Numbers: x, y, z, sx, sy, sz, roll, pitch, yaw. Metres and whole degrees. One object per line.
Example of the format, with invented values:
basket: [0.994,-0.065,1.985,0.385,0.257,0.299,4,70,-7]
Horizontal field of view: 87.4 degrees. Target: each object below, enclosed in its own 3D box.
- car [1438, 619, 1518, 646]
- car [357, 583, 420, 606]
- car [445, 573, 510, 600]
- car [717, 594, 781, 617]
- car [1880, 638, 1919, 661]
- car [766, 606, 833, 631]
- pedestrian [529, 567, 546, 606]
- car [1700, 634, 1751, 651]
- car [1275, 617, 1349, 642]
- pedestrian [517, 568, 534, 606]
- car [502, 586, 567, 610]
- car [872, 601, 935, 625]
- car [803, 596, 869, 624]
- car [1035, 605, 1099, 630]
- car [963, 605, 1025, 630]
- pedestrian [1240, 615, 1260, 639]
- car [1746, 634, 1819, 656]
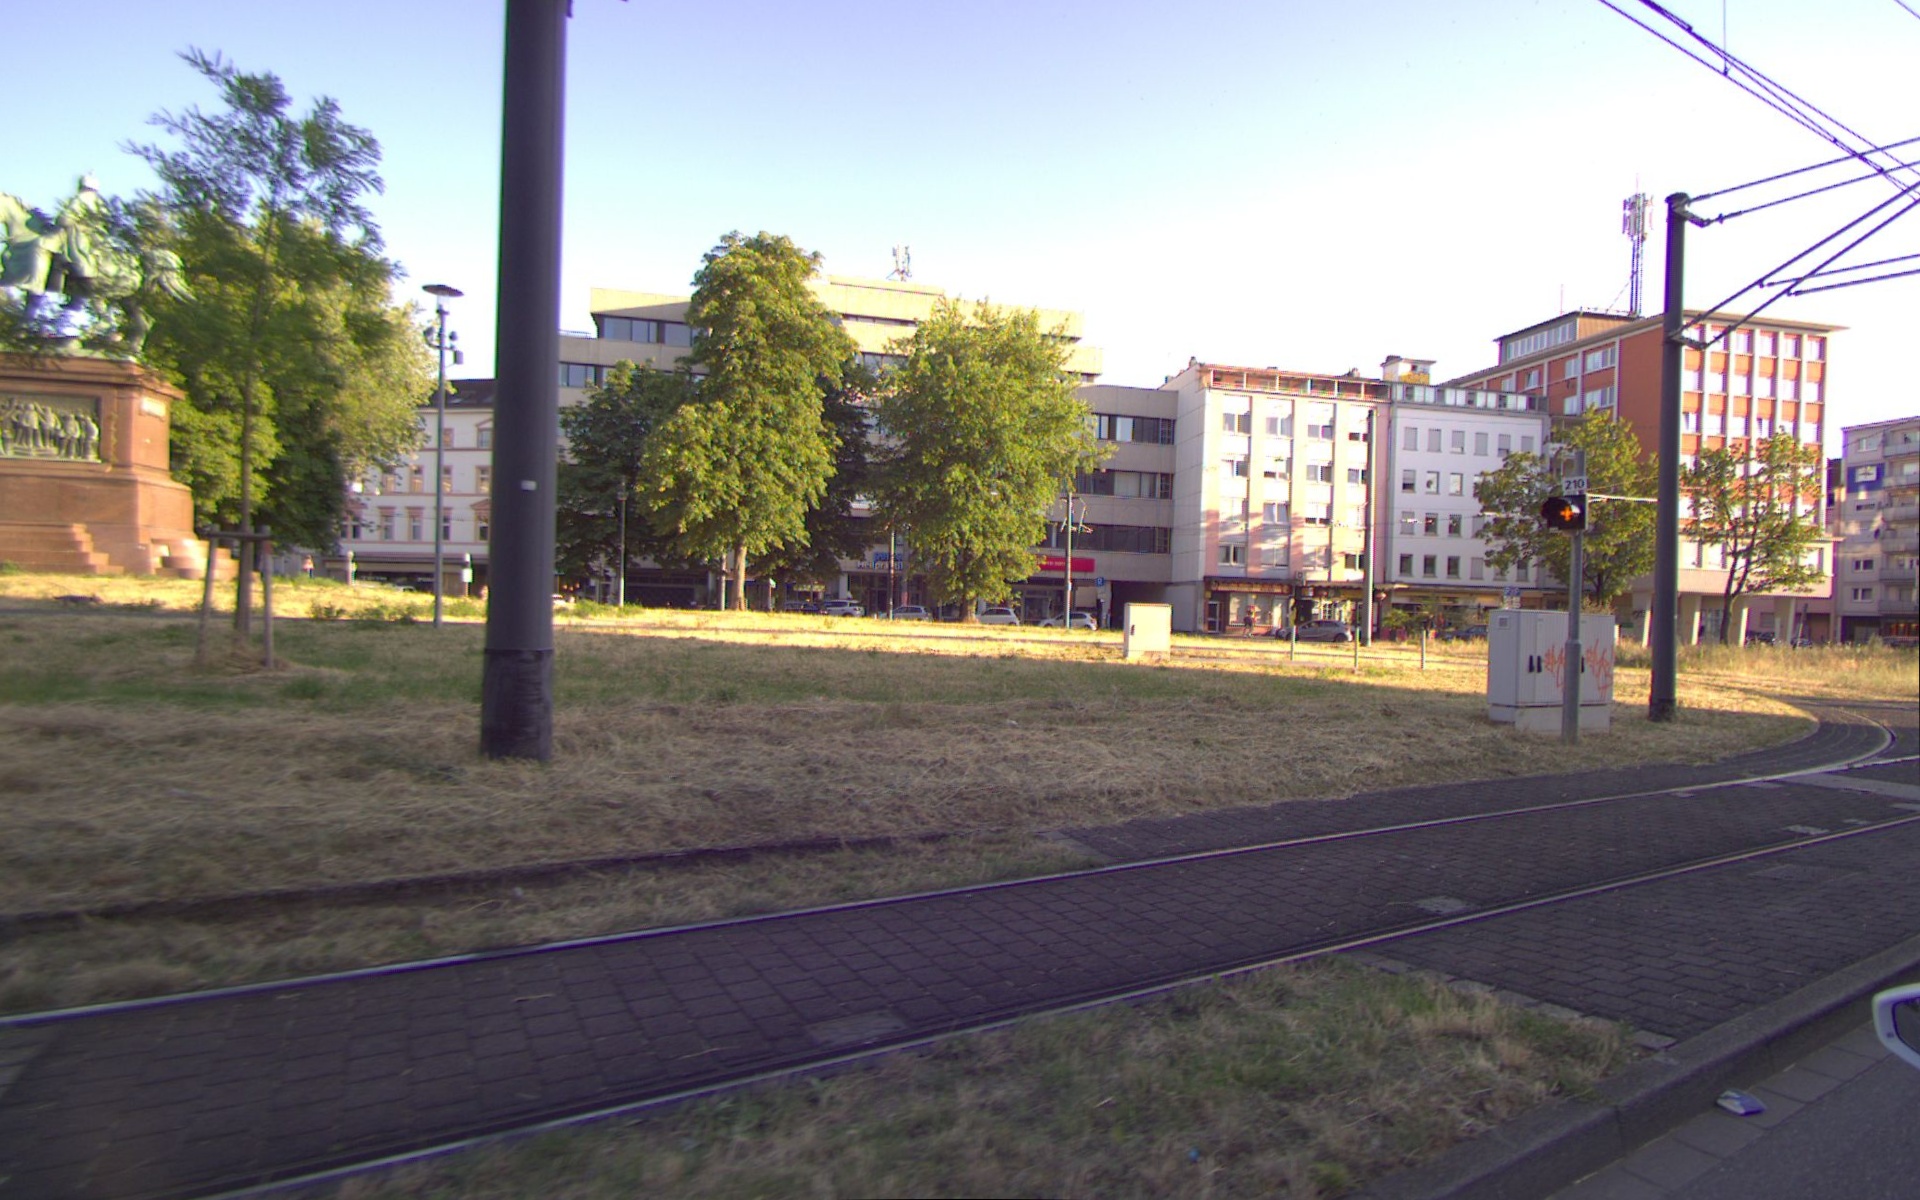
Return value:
car: [31.372,1.948,60.940,3.919,1.547,1.761,1,0,11]
car: [-43.738,-0.398,76.906,3.919,1.686,1.761,1,0,11]
car: [-35.972,-1.017,74.989,4.123,1.970,1.761,1,0,11]
car: [-14.943,0.387,71.290,3.985,1.577,1.867,1,0,11]
car: [69.422,3.593,72.638,1.774,1.606,3.863,1,0,-17]
car: [-10.579,1.190,66.413,3.985,1.577,1.867,1,0,11]
pedestrian: [-17.729,-0.555,42.138,0.543,1.602,0.619,1,0,-10]
car: [78.722,4.366,103.310,1.774,1.606,3.863,1,0,-17]
car: [20.626,1.716,59.035,3.919,1.409,1.712,1,0,12]
pedestrian: [-17.940,-0.529,41.479,0.543,1.532,0.453,1,0,-10]
car: [-29.914,-0.144,70.603,3.919,1.601,1.798,1,0,14]
car: [-3.805,0.880,67.863,3.919,1.573,1.761,1,0,11]
car: [-8.529,0.677,69.299,4.123,1.818,1.761,1,0,11]
car: [6.998,1.140,65.566,3.919,1.573,1.761,1,0,14]
car: [2.278,1.174,66.654,3.919,1.573,1.761,1,0,11]
pedestrian: [19.330,1.783,66.911,0.839,1.548,1.118,1,0,-14]
car: [67.850,3.678,82.946,1.957,1.606,4.278,1,0,-17]
